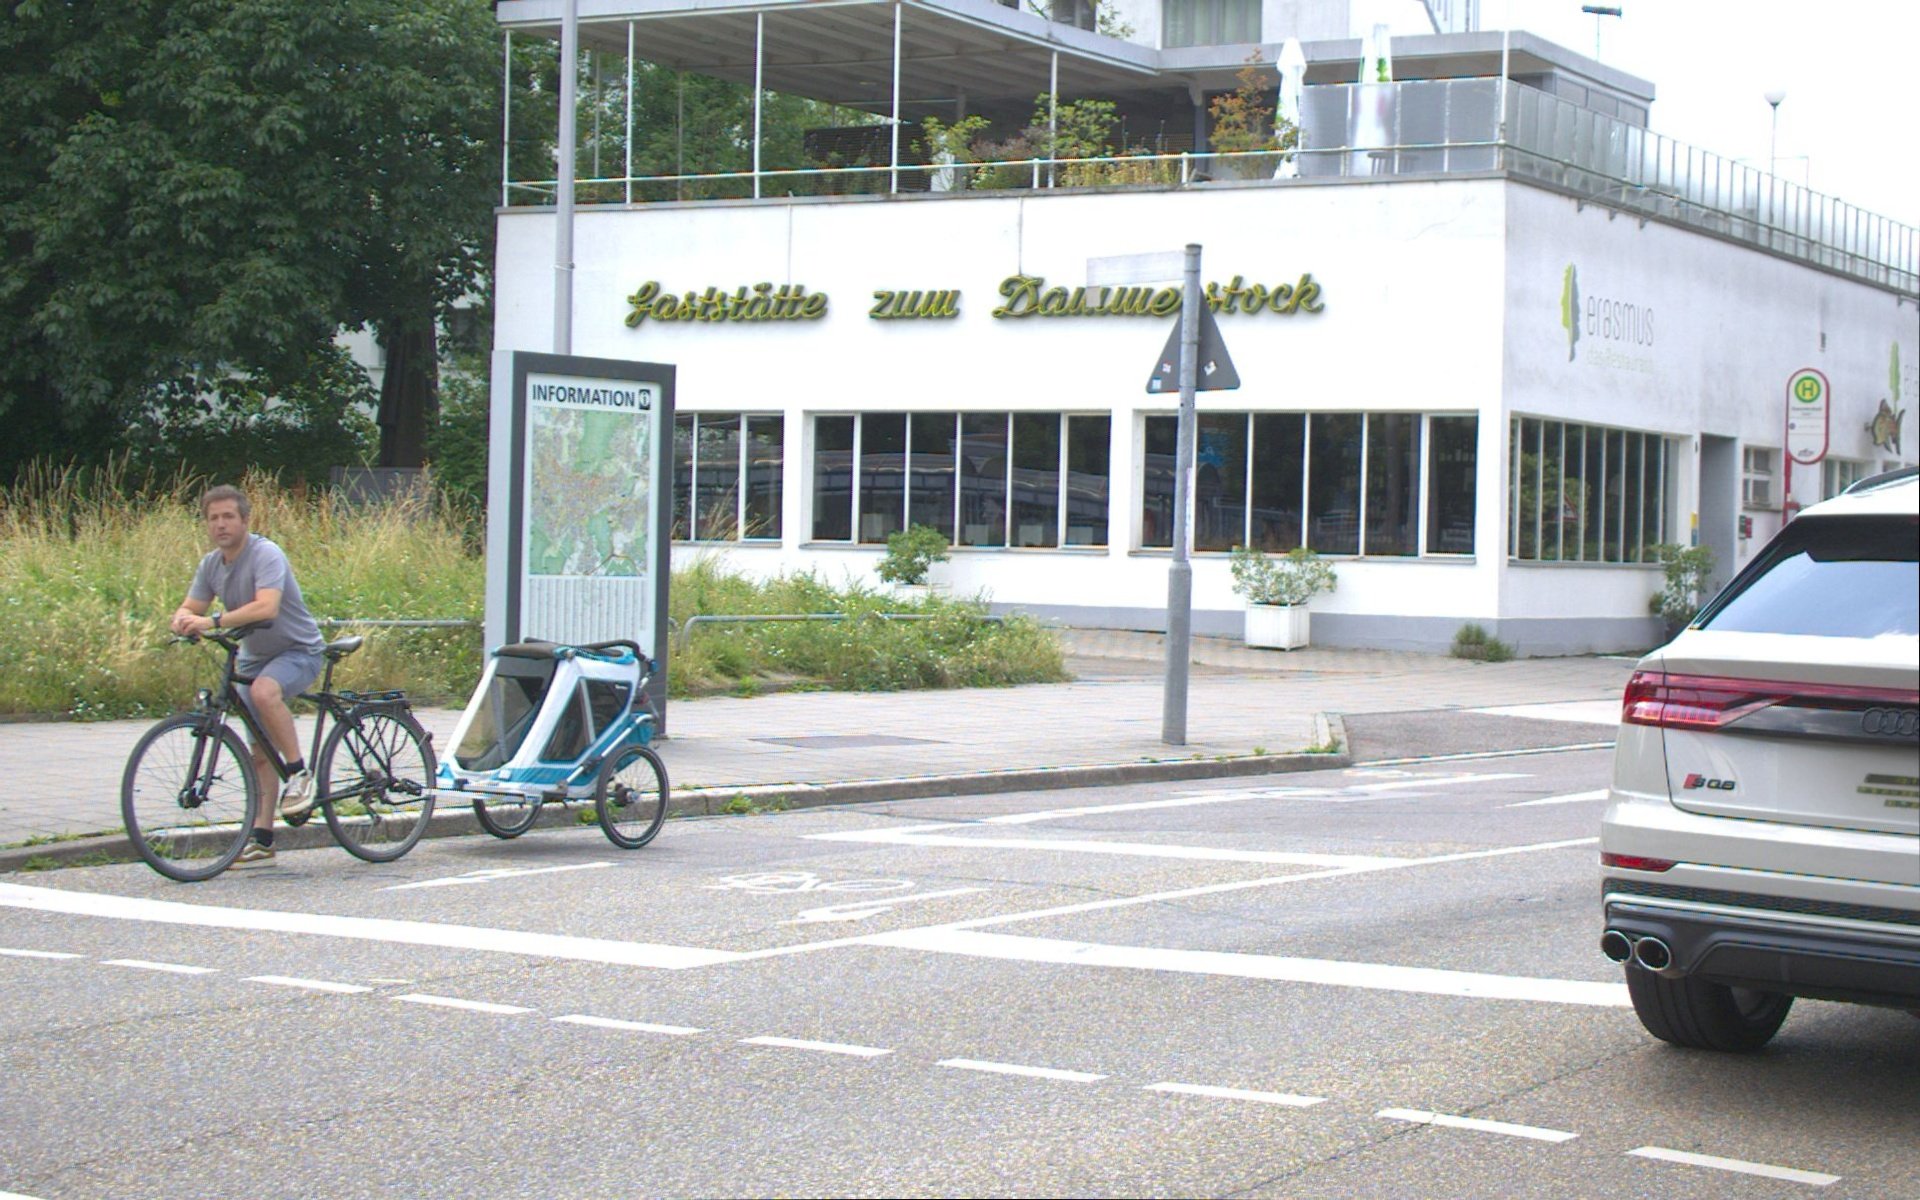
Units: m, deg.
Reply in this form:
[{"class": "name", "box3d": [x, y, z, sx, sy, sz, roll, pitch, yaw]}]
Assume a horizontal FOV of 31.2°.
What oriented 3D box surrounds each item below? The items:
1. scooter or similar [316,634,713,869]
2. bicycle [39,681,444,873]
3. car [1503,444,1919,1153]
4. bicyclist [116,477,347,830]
[{"class": "scooter or similar", "box3d": [-2.049, 0.672, 15.935, 0.961, 0.976, 1.576, 2, 1, 40]}, {"class": "bicycle", "box3d": [-3.085, 0.748, 14.900, 0.555, 0.762, 1.723, 2, 0, 40]}, {"class": "car", "box3d": [3.561, 0.481, 10.176, 1.985, 1.678, 4.565, 4, 2, 35]}, {"class": "bicyclist", "box3d": [-3.129, 0.219, 14.793, 0.455, 1.470, 0.840, 2, 1, 40]}]
